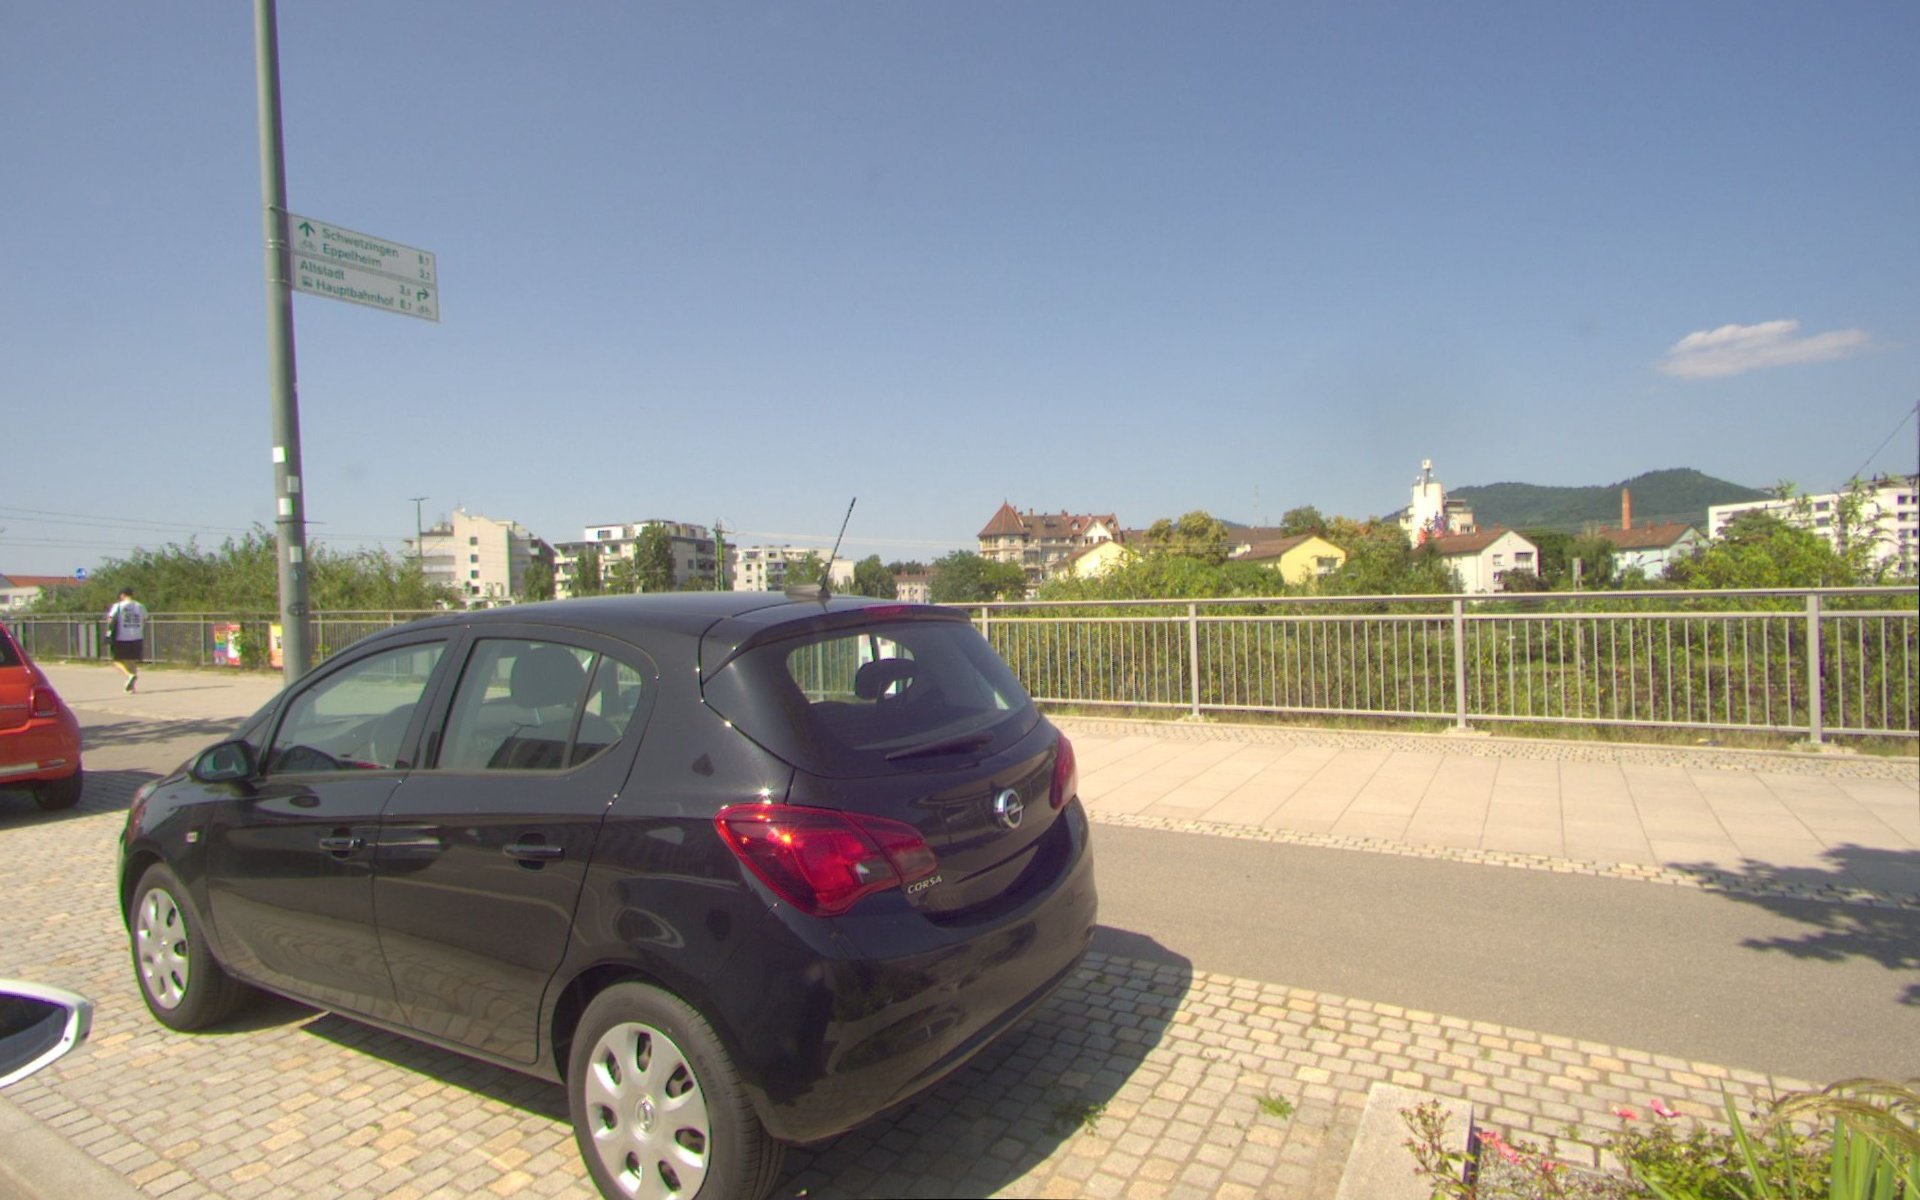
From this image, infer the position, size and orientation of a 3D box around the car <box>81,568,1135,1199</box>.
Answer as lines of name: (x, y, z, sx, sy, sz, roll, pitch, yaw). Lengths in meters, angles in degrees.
car: (-1.339, 0.732, 3.485, 3.495, 1.577, 1.577, -1, 2, 32)

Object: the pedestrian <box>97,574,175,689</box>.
pedestrian: (-13.741, 0.538, 16.709, 0.872, 1.853, 0.757, -1, -2, 32)

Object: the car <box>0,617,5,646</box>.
car: (-57.053, 1.794, 56.453, 1.963, 1.695, 4.257, -1, -2, 15)

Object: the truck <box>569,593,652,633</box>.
truck: (-29.813, 1.185, 85.736, 3.672, 3.244, 6.485, -1, -2, 17)

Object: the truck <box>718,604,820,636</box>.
truck: (-21.429, 2.393, 114.444, 3.674, 3.243, 17.876, -1, -3, 17)

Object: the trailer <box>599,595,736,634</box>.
trailer: (-27.130, 1.555, 94.651, 3.674, 3.243, 17.244, -1, -3, 17)

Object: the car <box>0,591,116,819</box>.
car: (-8.376, 0.761, 7.748, 3.860, 1.560, 1.666, -1, 1, 32)
